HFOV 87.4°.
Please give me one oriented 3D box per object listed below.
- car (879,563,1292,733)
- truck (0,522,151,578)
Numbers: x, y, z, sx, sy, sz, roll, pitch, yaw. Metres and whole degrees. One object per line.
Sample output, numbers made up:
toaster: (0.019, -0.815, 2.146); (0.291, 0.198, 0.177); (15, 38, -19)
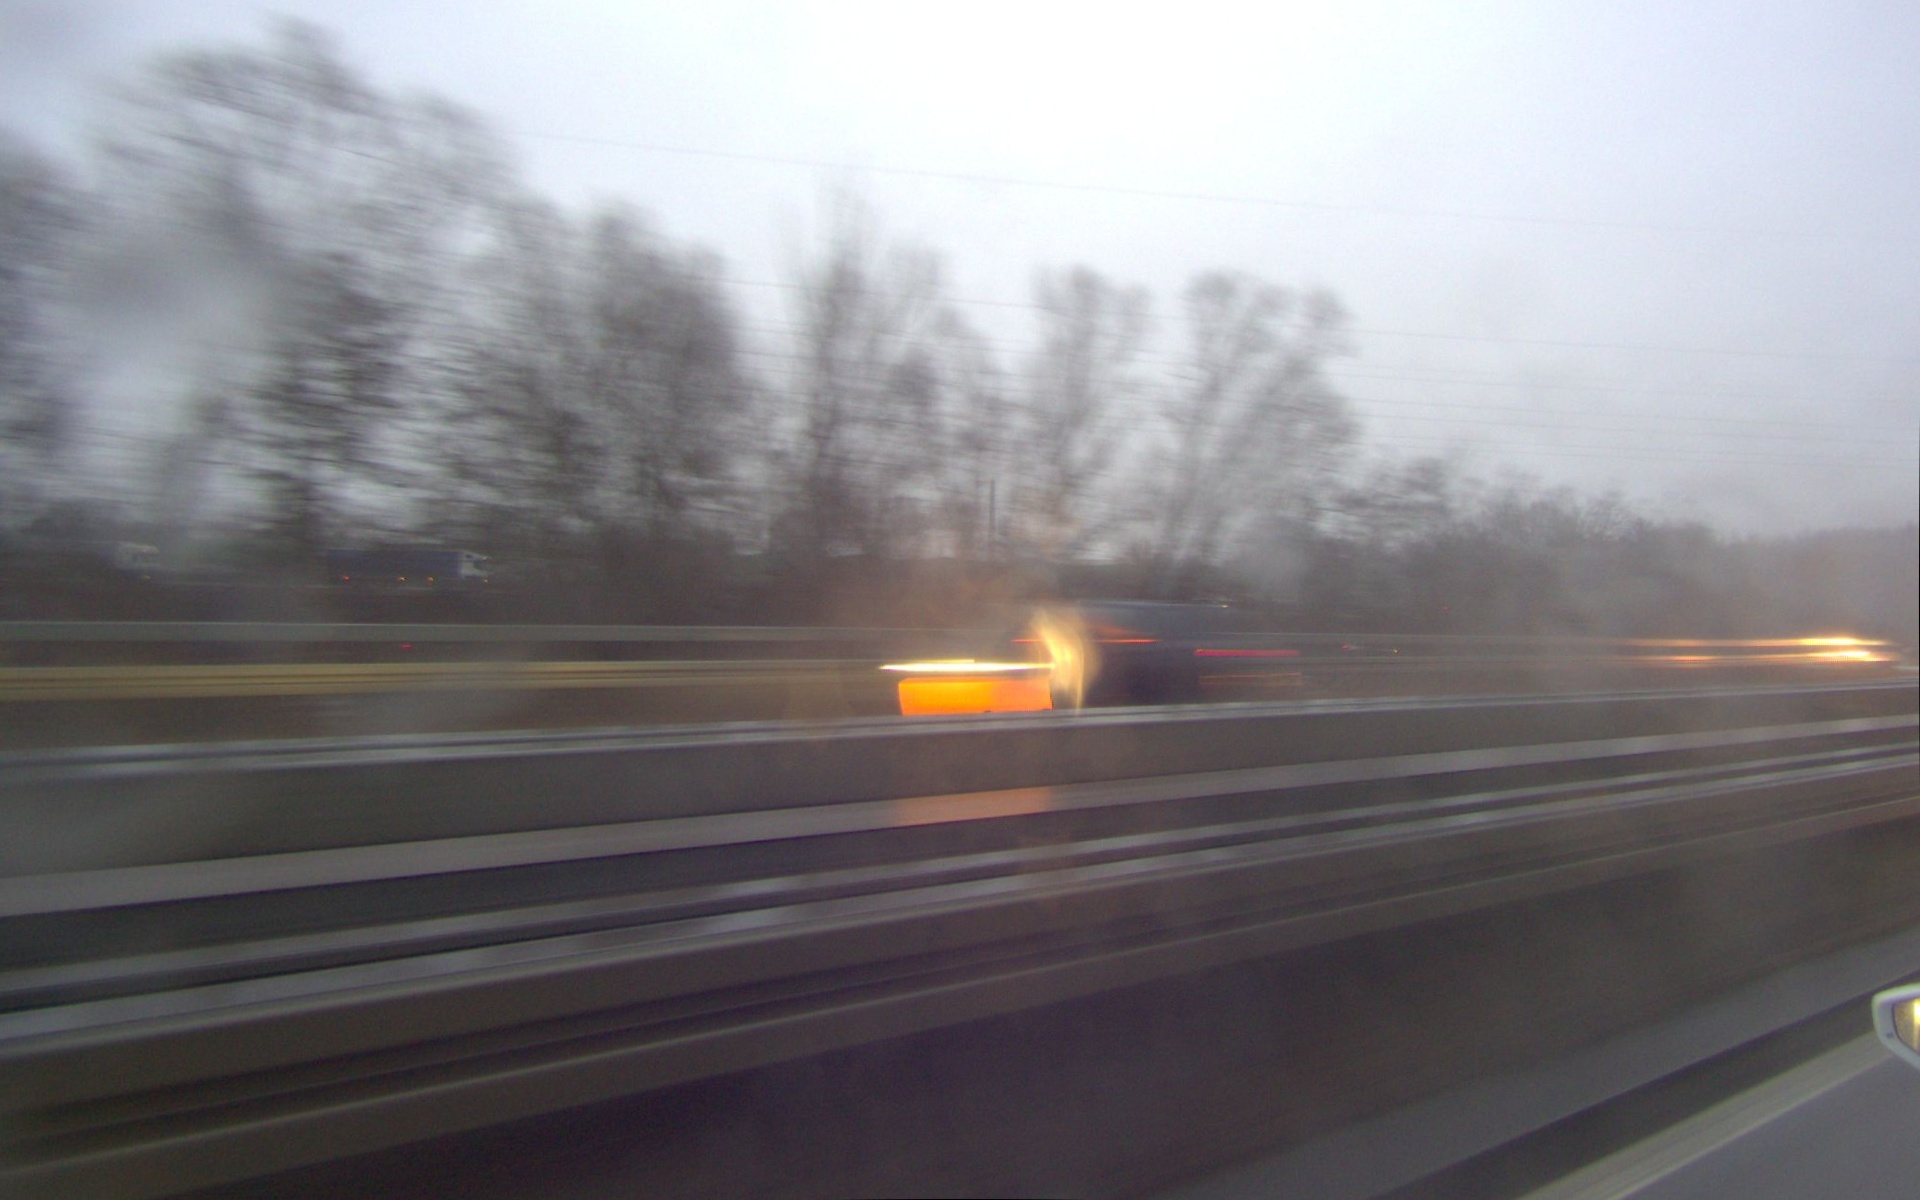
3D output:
car: (1.503, 0.444, 11.596); (4.427, 1.615, 2.082); (0, 1, -32)
truck: (-90.356, -5.053, 101.648); (13.611, 4.671, 3.284); (4, 1, -4)
